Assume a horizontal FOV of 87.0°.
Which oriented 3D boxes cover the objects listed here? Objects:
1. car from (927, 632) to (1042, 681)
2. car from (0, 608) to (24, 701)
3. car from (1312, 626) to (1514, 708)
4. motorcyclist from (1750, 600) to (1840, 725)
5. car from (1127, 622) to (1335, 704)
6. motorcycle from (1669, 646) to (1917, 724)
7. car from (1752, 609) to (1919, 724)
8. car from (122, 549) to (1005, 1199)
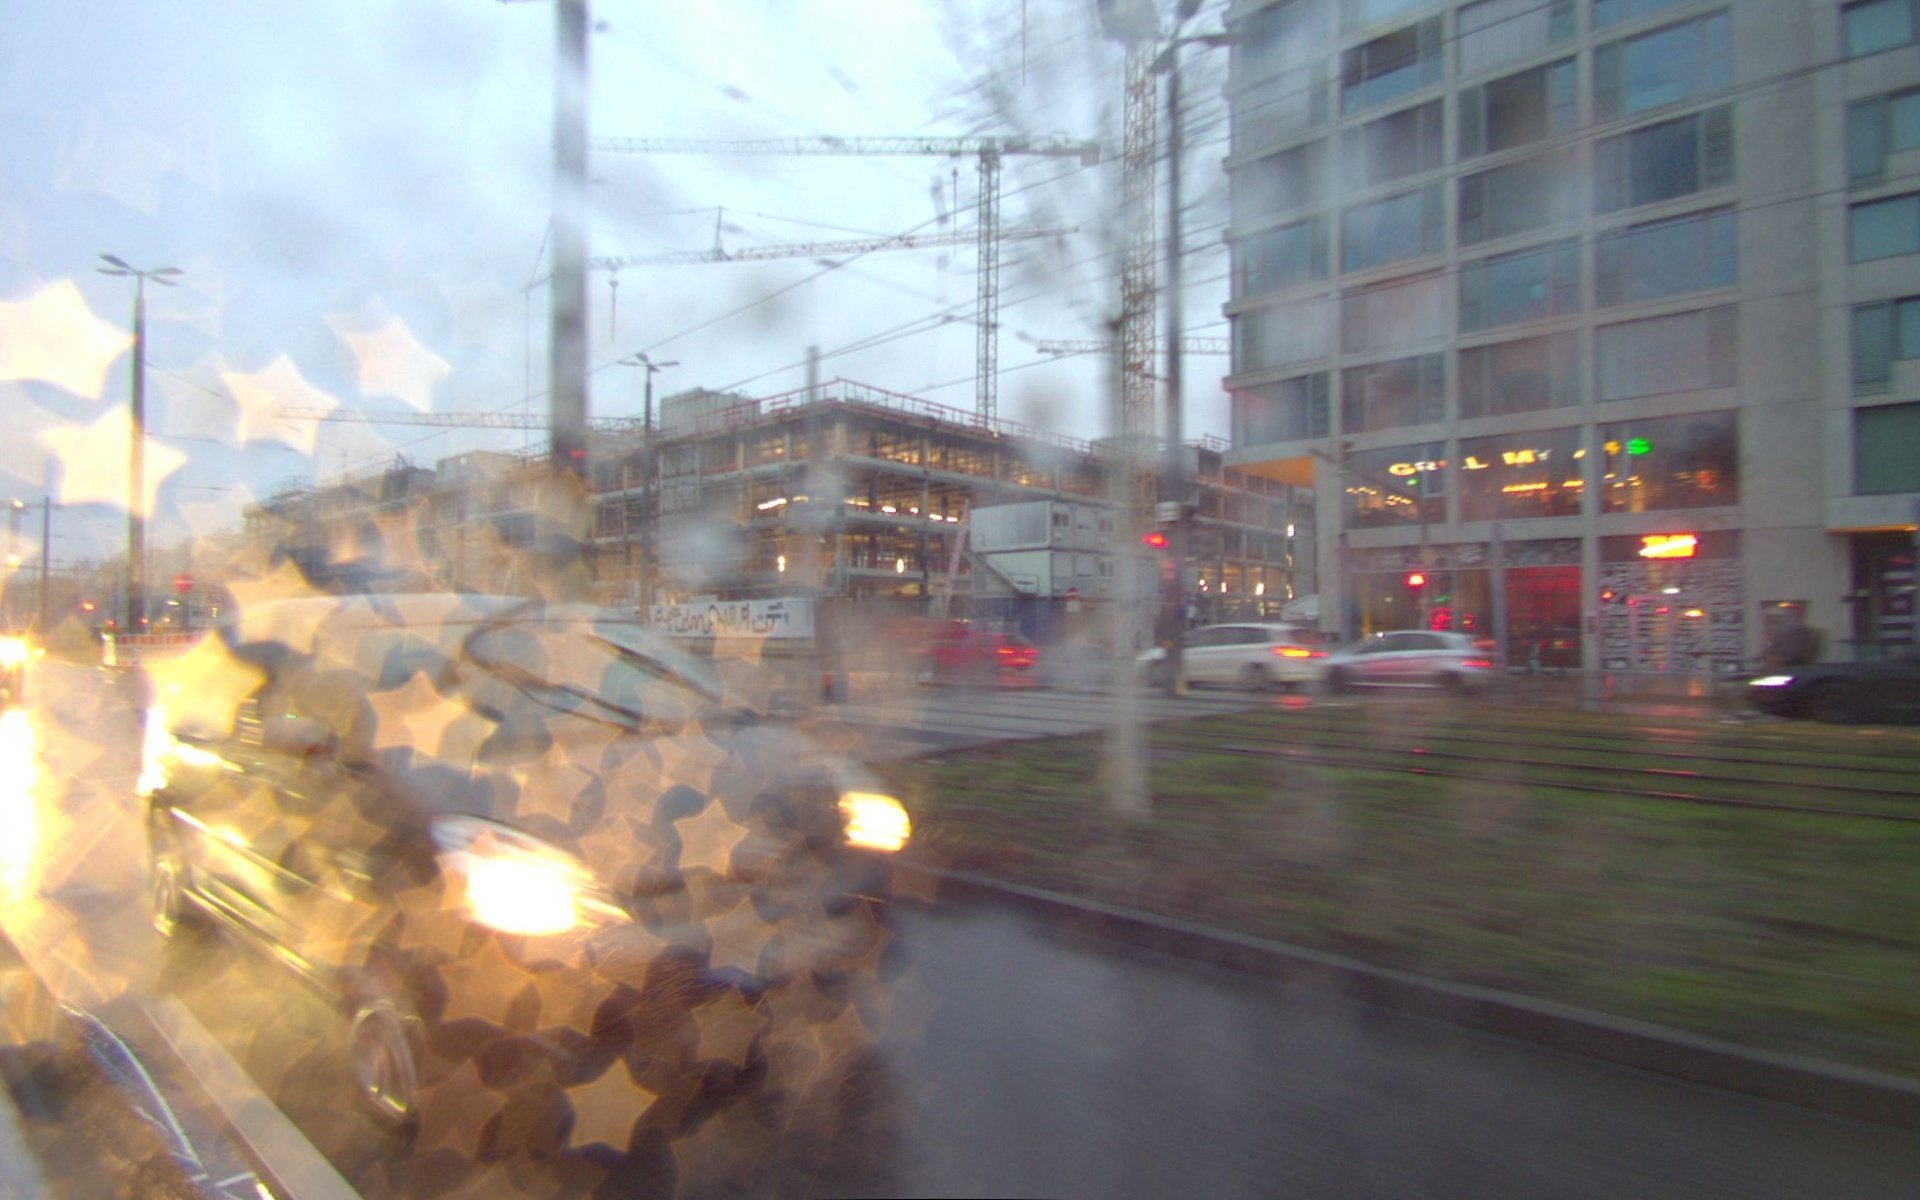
[{"bbox_3d":[0.829,1.993,36.347,1.859,1.586,4.003,0,-1,-44],"label":"car"},{"bbox_3d":[-19.924,1.059,19.955,3.999,1.746,1.833,-1,-1,42],"label":"car"},{"bbox_3d":[11.134,1.570,25.060,4.176,1.803,1.860,-1,-1,44],"label":"car"},{"bbox_3d":[13.191,0.954,15.994,1.033,1.900,0.862,-1,-1,41],"label":"motorcyclist"},{"bbox_3d":[6.563,1.453,24.827,4.598,1.803,1.861,-1,-1,43],"label":"car"},{"bbox_3d":[13.115,1.296,16.067,2.965,1.065,0.862,-1,-1,42],"label":"motorcycle"},{"bbox_3d":[13.712,0.858,13.310,5.093,1.473,1.973,-1,-1,42],"label":"car"},{"bbox_3d":[-1.918,0.723,4.144,3.998,1.606,1.741,-1,-1,41],"label":"car"}]
